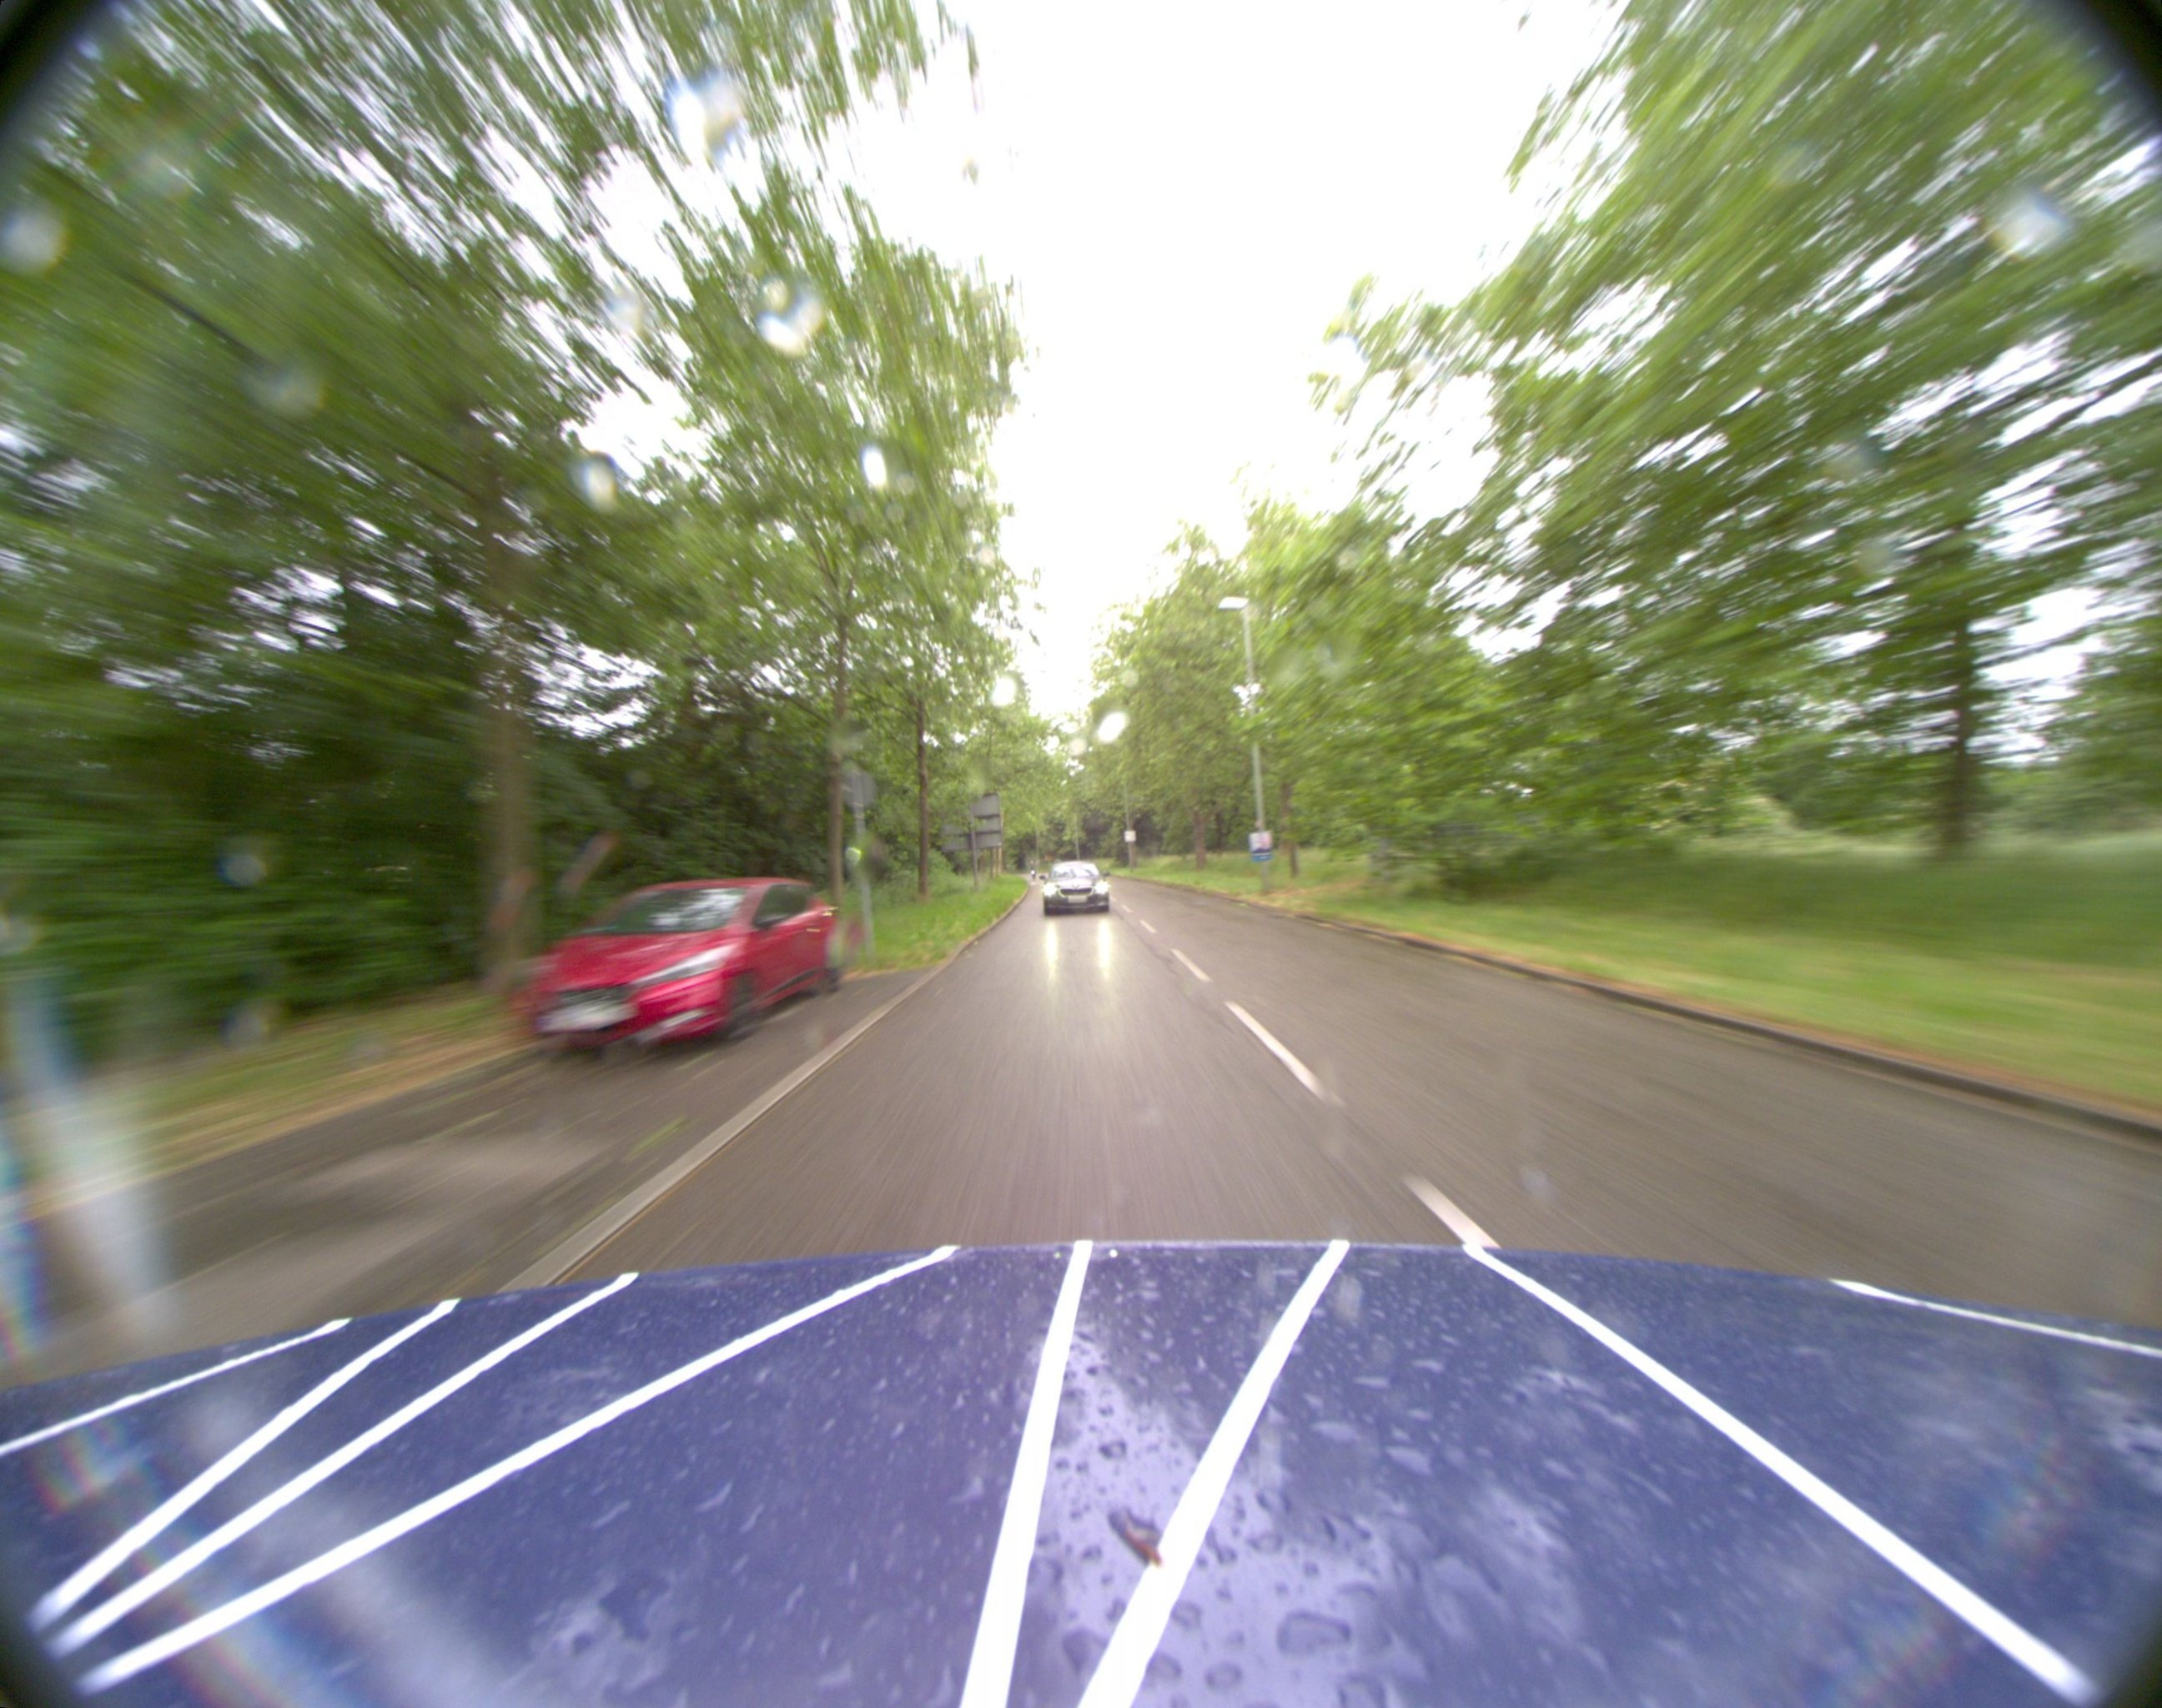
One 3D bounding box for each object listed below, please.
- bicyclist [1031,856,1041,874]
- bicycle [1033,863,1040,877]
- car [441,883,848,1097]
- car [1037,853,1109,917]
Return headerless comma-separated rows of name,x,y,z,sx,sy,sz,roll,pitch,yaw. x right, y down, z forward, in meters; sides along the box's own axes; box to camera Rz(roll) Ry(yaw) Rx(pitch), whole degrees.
bicyclist,-3.968,0.968,66.817,0.698,1.489,0.800,-5,1,-4
bicycle,-3.913,1.404,66.808,0.453,1.127,1.832,-5,1,-4
car,-3.854,1.097,7.584,1.801,1.364,3.744,-2,1,1
car,-0.168,0.856,23.426,1.843,1.486,4.901,-6,1,1
